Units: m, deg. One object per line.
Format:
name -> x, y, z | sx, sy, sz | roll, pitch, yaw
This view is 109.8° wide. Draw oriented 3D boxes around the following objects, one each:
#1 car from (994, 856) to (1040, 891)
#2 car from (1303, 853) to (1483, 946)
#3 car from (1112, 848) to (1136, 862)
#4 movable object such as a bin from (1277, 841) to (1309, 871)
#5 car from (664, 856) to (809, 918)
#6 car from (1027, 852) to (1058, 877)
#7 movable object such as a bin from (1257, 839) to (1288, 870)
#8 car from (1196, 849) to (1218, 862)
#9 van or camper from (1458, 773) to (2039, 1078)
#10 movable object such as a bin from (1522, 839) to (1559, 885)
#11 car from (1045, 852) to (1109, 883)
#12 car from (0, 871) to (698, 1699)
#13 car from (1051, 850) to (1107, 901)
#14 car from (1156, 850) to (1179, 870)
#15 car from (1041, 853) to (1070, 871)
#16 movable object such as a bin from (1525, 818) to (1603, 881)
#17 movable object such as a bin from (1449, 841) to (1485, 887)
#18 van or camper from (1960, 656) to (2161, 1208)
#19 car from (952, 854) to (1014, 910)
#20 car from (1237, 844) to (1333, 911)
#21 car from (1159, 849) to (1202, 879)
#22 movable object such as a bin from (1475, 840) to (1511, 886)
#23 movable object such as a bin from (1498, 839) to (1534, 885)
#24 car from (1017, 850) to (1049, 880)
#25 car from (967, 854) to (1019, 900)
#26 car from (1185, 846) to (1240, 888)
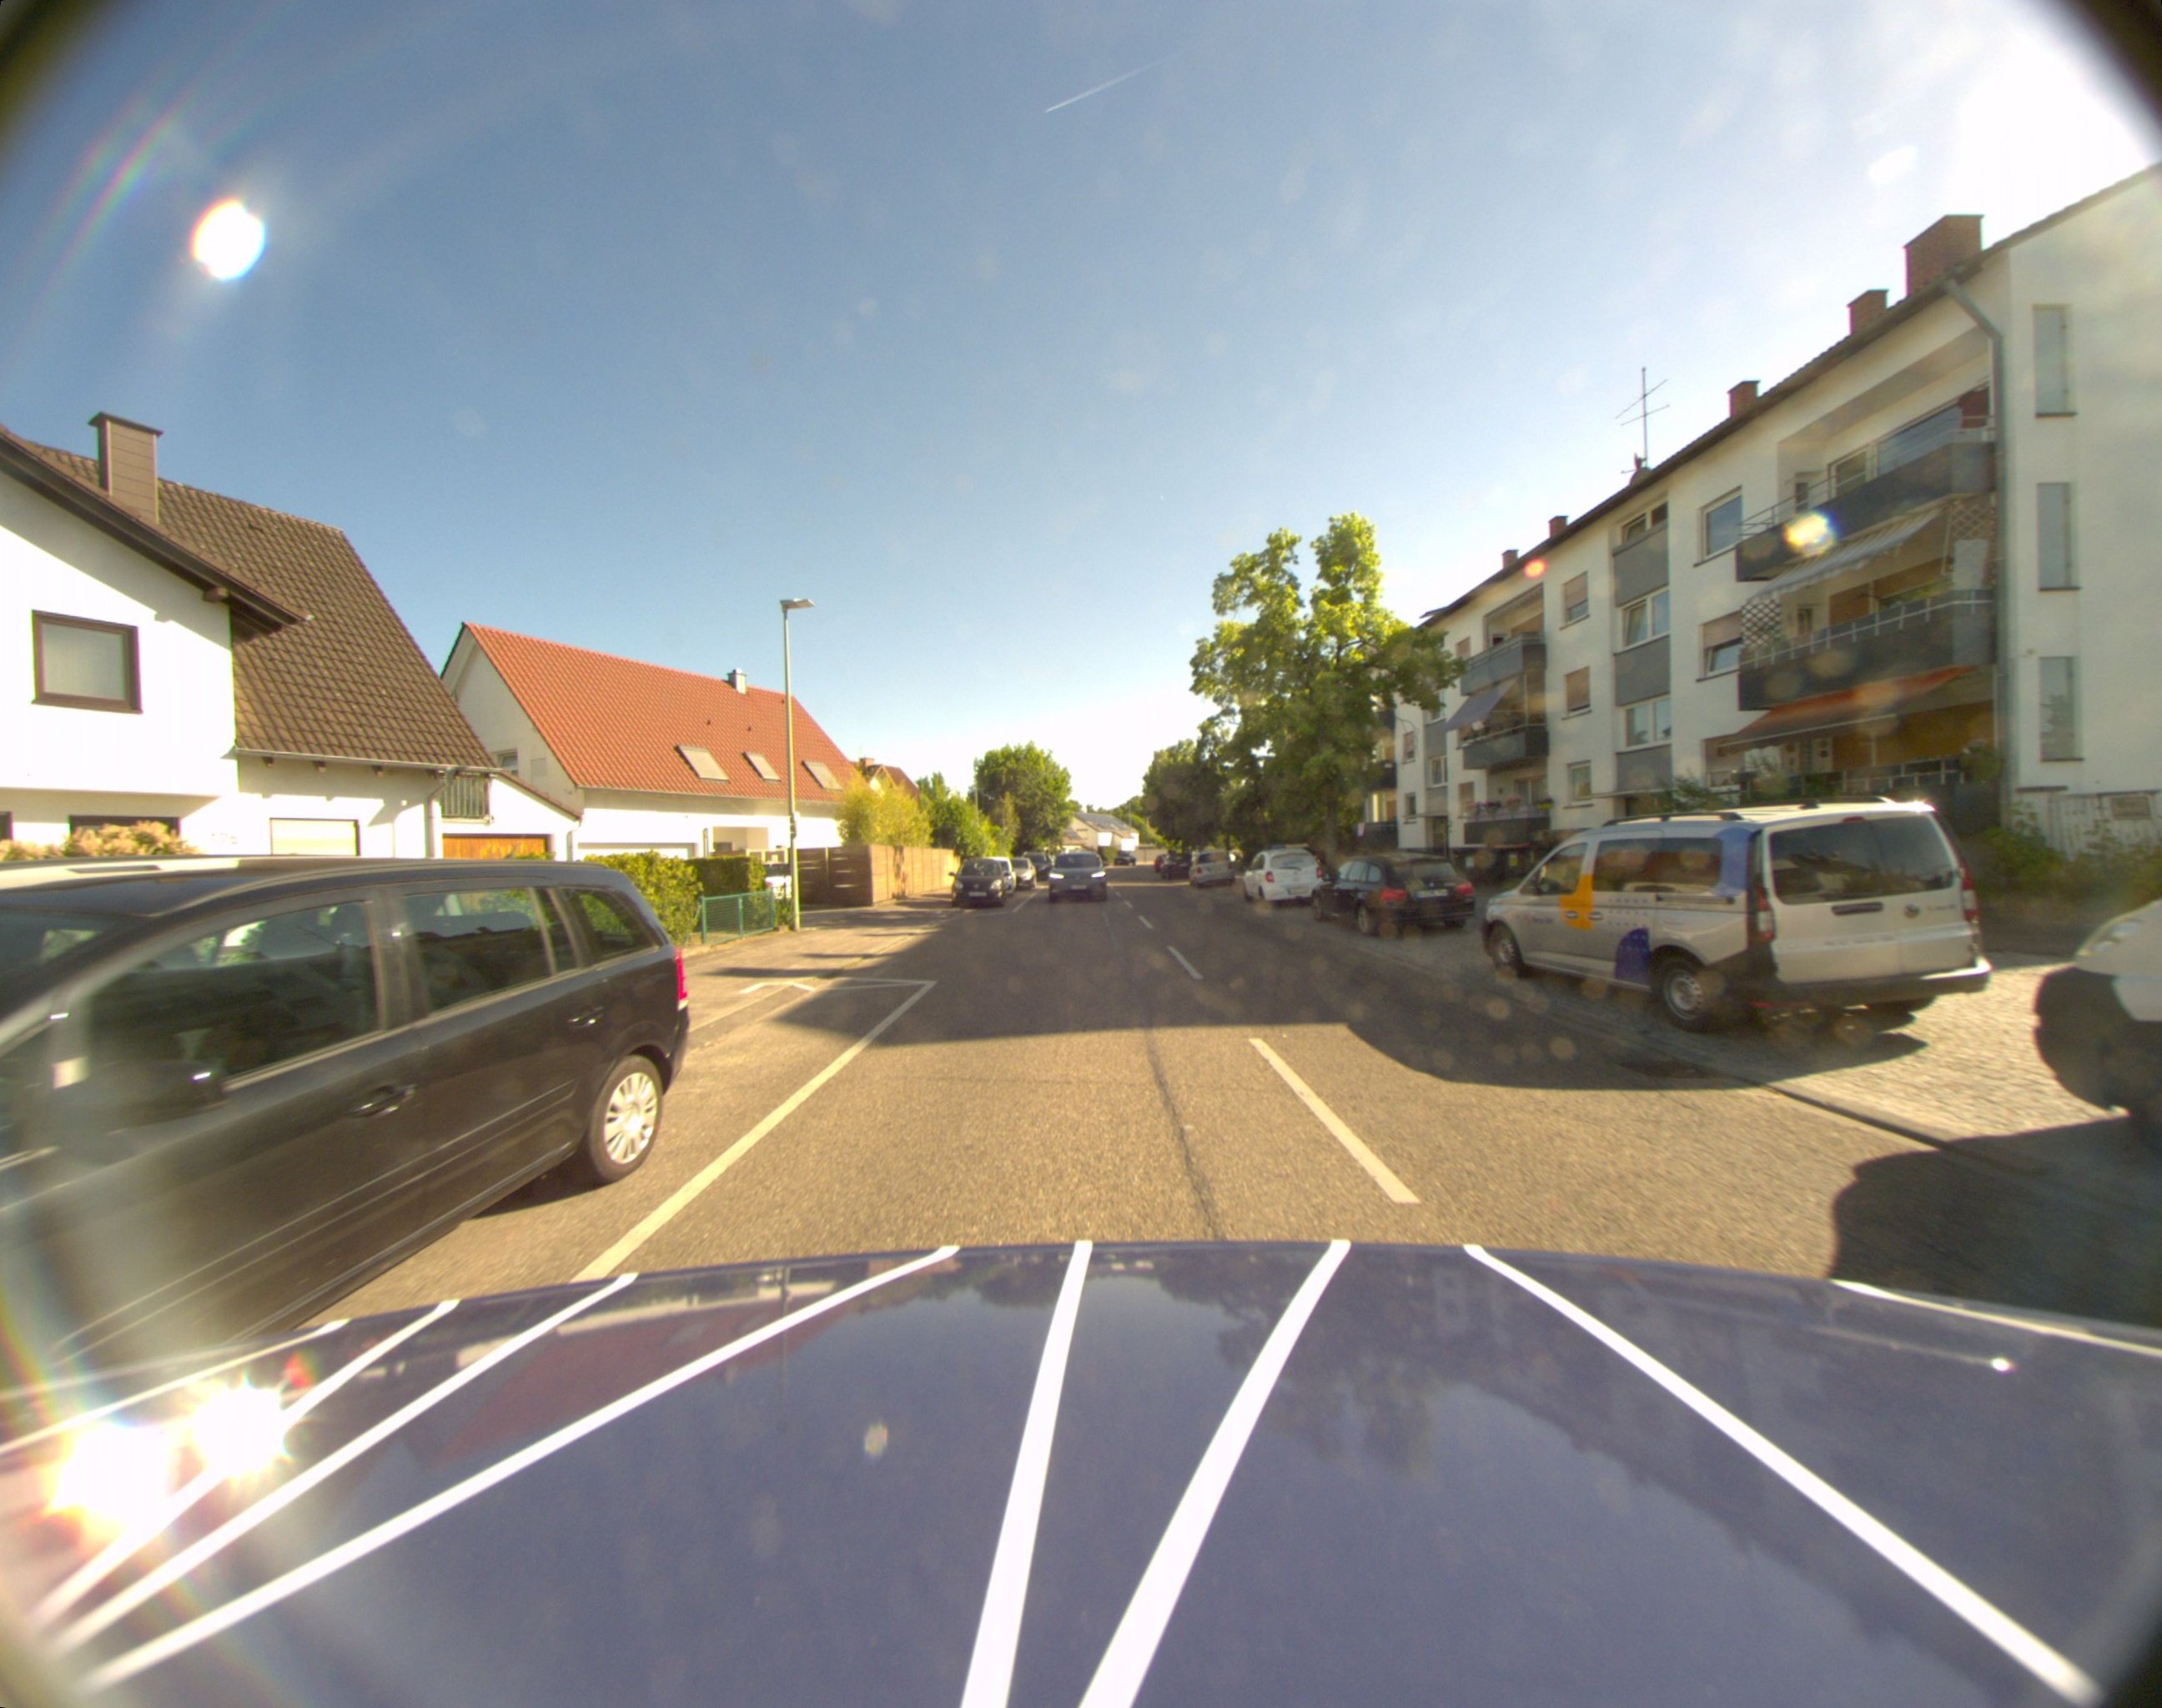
car -> -2.907, 0.845, 35.275 | 1.646, 1.485, 3.889 | -1, 0, 2
car -> 5.752, 0.746, 14.621 | 1.613, 1.427, 4.312 | -3, 0, 0
car -> 5.338, 0.132, 94.328 | 1.774, 1.727, 3.710 | 1, 1, 22
movable object such as a bin -> 11.212, 0.095, 40.191 | 1.293, 1.534, 1.327 | -2, 1, 2
car -> -10.311, 0.969, 22.742 | 3.990, 1.675, 1.714 | -1, 1, 24
car -> -2.700, 0.699, 54.136 | 1.767, 1.666, 4.395 | -1, 0, 3
movable object such as a bin -> 10.691, 0.042, 42.546 | 1.416, 1.653, 1.267 | -2, 1, 2
car -> 16.049, 0.155, 96.604 | 1.649, 1.530, 3.710 | -1, 0, 26
van or camper -> 5.792, 0.498, 7.521 | 1.882, 2.002, 4.279 | -5, 0, 1
movable object such as a bin -> 13.090, 0.215, 21.670 | 0.640, 1.271, 0.672 | -2, 1, 3
car -> -0.242, 0.721, 41.588 | 1.585, 1.569, 3.694 | -1, 0, -37
car -> -3.157, 0.969, 2.176 | 1.780, 1.649, 4.303 | -2, 0, 2
car -> -0.090, 0.720, 26.603 | 1.777, 1.624, 3.703 | -1, 0, -1
car -> 7.252, 0.479, 63.597 | 1.660, 1.485, 3.911 | -5, 0, 9
car -> -2.263, 0.683, 68.628 | 1.656, 1.554, 4.467 | -1, 0, 9
movable object such as a bin -> 11.962, -0.107, 18.857 | 1.234, 1.474, 1.116 | -2, 1, 3
movable object such as a bin -> 11.074, 0.275, 21.819 | 0.688, 1.271, 0.672 | -2, 1, 3
van or camper -> 5.849, 0.284, 1.286 | 2.128, 2.475, 5.554 | -5, 0, 0
car -> -3.098, 0.840, 24.581 | 1.661, 1.591, 3.815 | -2, 0, -3
car -> 5.588, 0.589, 21.255 | 1.697, 1.557, 3.907 | -5, 0, 3
car -> 5.887, 0.571, 45.516 | 1.726, 1.485, 4.542 | -7, 0, -1
movable object such as a bin -> 11.769, 0.252, 21.713 | 0.640, 1.271, 0.672 | -2, 1, 3
movable object such as a bin -> 12.414, 0.228, 21.681 | 0.640, 1.271, 0.672 | -2, 1, 3
car -> -2.962, 0.643, 47.955 | 1.747, 1.802, 4.429 | -1, 0, -1
car -> -3.346, 0.823, 29.469 | 1.729, 1.591, 3.815 | -2, 0, -3
car -> 5.768, 0.524, 33.663 | 1.726, 1.583, 3.909 | -7, 0, 3
